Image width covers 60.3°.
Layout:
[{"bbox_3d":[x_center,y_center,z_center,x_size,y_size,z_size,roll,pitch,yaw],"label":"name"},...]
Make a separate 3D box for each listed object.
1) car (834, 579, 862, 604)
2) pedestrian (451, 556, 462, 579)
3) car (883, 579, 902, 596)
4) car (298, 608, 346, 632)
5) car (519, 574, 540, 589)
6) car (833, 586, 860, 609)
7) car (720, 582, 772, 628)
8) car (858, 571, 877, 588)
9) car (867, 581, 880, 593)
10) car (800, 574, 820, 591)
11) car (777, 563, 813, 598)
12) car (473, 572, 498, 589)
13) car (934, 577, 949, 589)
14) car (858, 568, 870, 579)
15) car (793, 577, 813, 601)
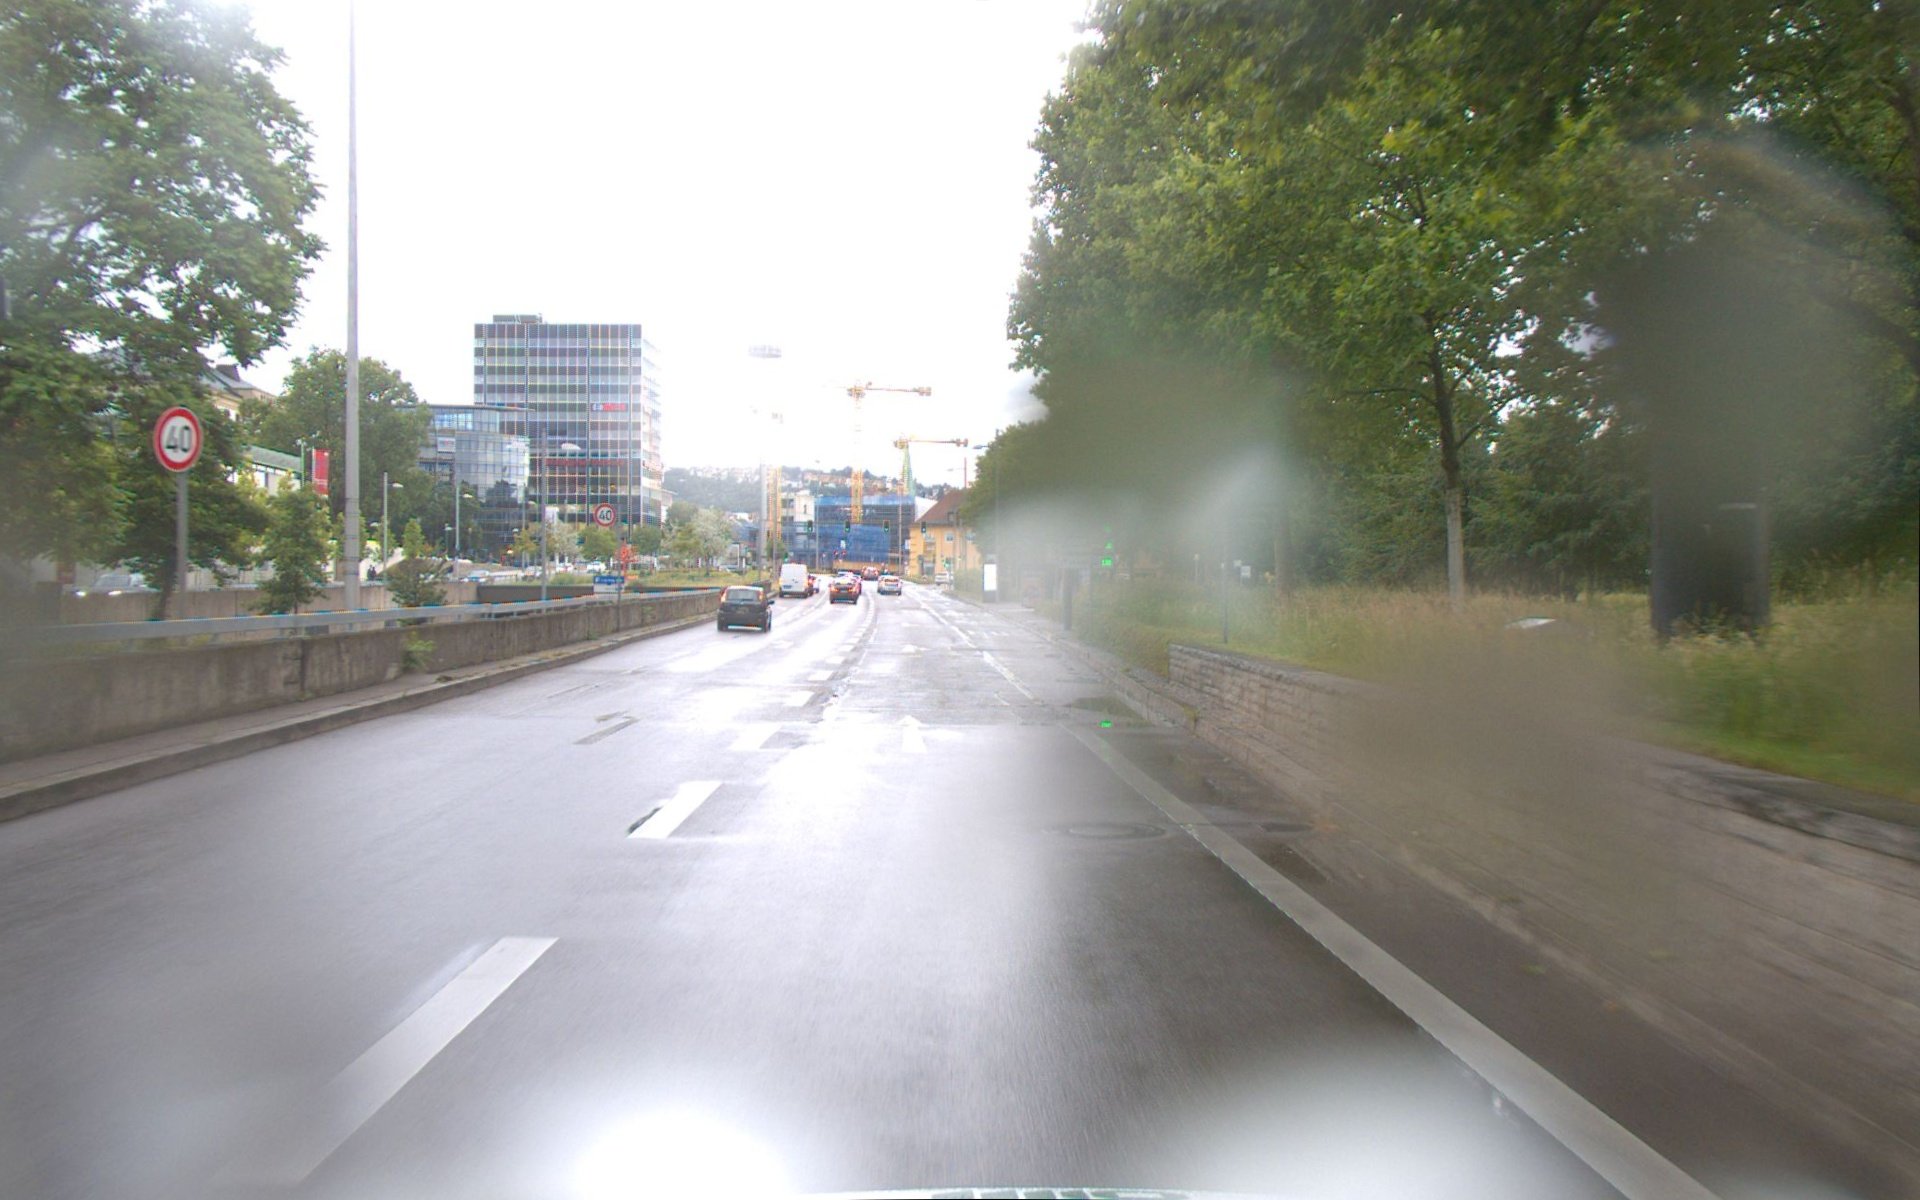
[{"bbox_3d":[-7.342,-0.591,108.448,1.719,1.496,4.219,1,2,-5],"label":"car"},{"bbox_3d":[-47.128,-3.061,154.831,0.712,2.126,0.767,6,7,36],"label":"pedestrian"},{"bbox_3d":[-5.575,-1.023,136.830,1.415,1.383,2.412,1,0,-1],"label":"car"},{"bbox_3d":[-32.947,1.022,85.495,1.458,1.149,3.048,1,0,-4],"label":"car"},{"bbox_3d":[-42.031,-1.792,161.460,1.435,1.465,2.961,1,0,-4],"label":"car"},{"bbox_3d":[-8.466,-0.192,123.528,1.844,1.681,3.453,1,0,-6],"label":"car"},{"bbox_3d":[-7.062,0.169,54.846,1.512,1.440,3.898,1,0,-5],"label":"car"},{"bbox_3d":[-11.403,-2.527,203.995,2.117,1.912,3.770,1,0,-1],"label":"car"},{"bbox_3d":[-7.458,-1.111,143.081,1.054,1.007,1.971,1,-1,-1],"label":"car"},{"bbox_3d":[-12.187,-1.442,134.780,1.520,1.282,2.578,1,0,-4],"label":"car"},{"bbox_3d":[-11.828,-1.391,118.757,2.247,2.354,5.003,1,0,-3],"label":"car"},{"bbox_3d":[-39.875,-1.645,139.095,1.317,1.376,2.930,1,0,-1],"label":"car"},{"bbox_3d":[-2.071,-1.880,182.289,1.603,1.194,3.265,1,-1,-1],"label":"car"},{"bbox_3d":[-12.542,-3.429,216.285,1.449,1.384,3.135,1,0,0],"label":"car"},{"bbox_3d":[-11.878,-0.846,125.157,1.436,1.736,3.137,1,0,-6],"label":"car"}]
